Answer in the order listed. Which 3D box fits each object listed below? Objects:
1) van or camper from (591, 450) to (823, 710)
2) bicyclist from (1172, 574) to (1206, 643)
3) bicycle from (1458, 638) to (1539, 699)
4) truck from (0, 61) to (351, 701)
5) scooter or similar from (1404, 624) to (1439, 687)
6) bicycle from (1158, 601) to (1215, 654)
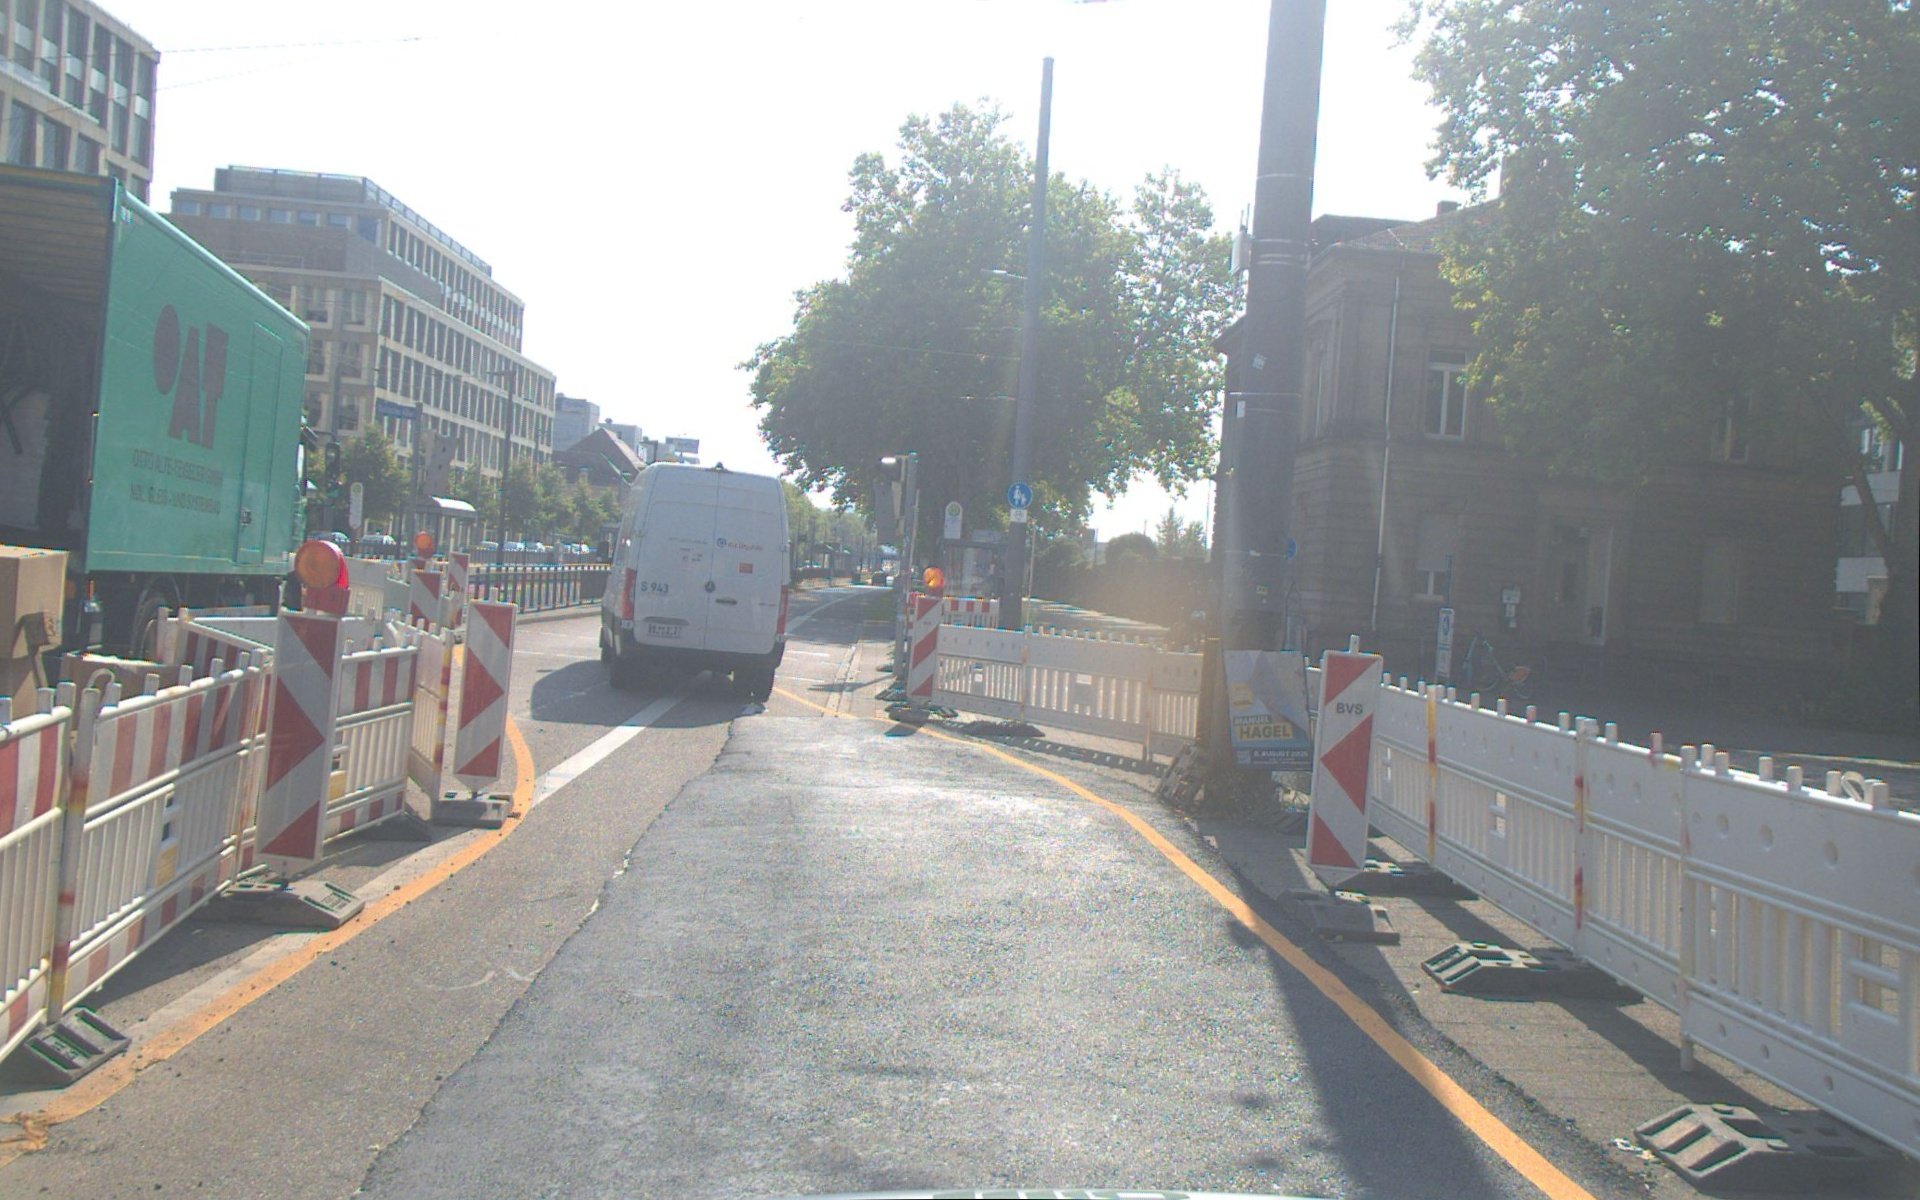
[{"bbox_3d":[-3.394,-0.310,21.174,2.081,2.727,5.229,6,1,-16],"label":"van or camper"},{"bbox_3d":[5.352,0.192,38.713,0.462,1.566,0.593,4,1,-18],"label":"bicyclist"},{"bbox_3d":[11.025,1.396,33.931,0.484,1.016,1.808,4,3,-20],"label":"bicycle"},{"bbox_3d":[-7.516,-1.651,14.500,2.746,3.978,8.391,6,1,-14],"label":"truck"},{"bbox_3d":[9.688,1.156,34.724,0.416,1.249,1.174,4,1,5],"label":"scooter or similar"},{"bbox_3d":[5.300,0.631,38.754,0.484,1.107,1.848,4,1,-18],"label":"bicycle"}]
